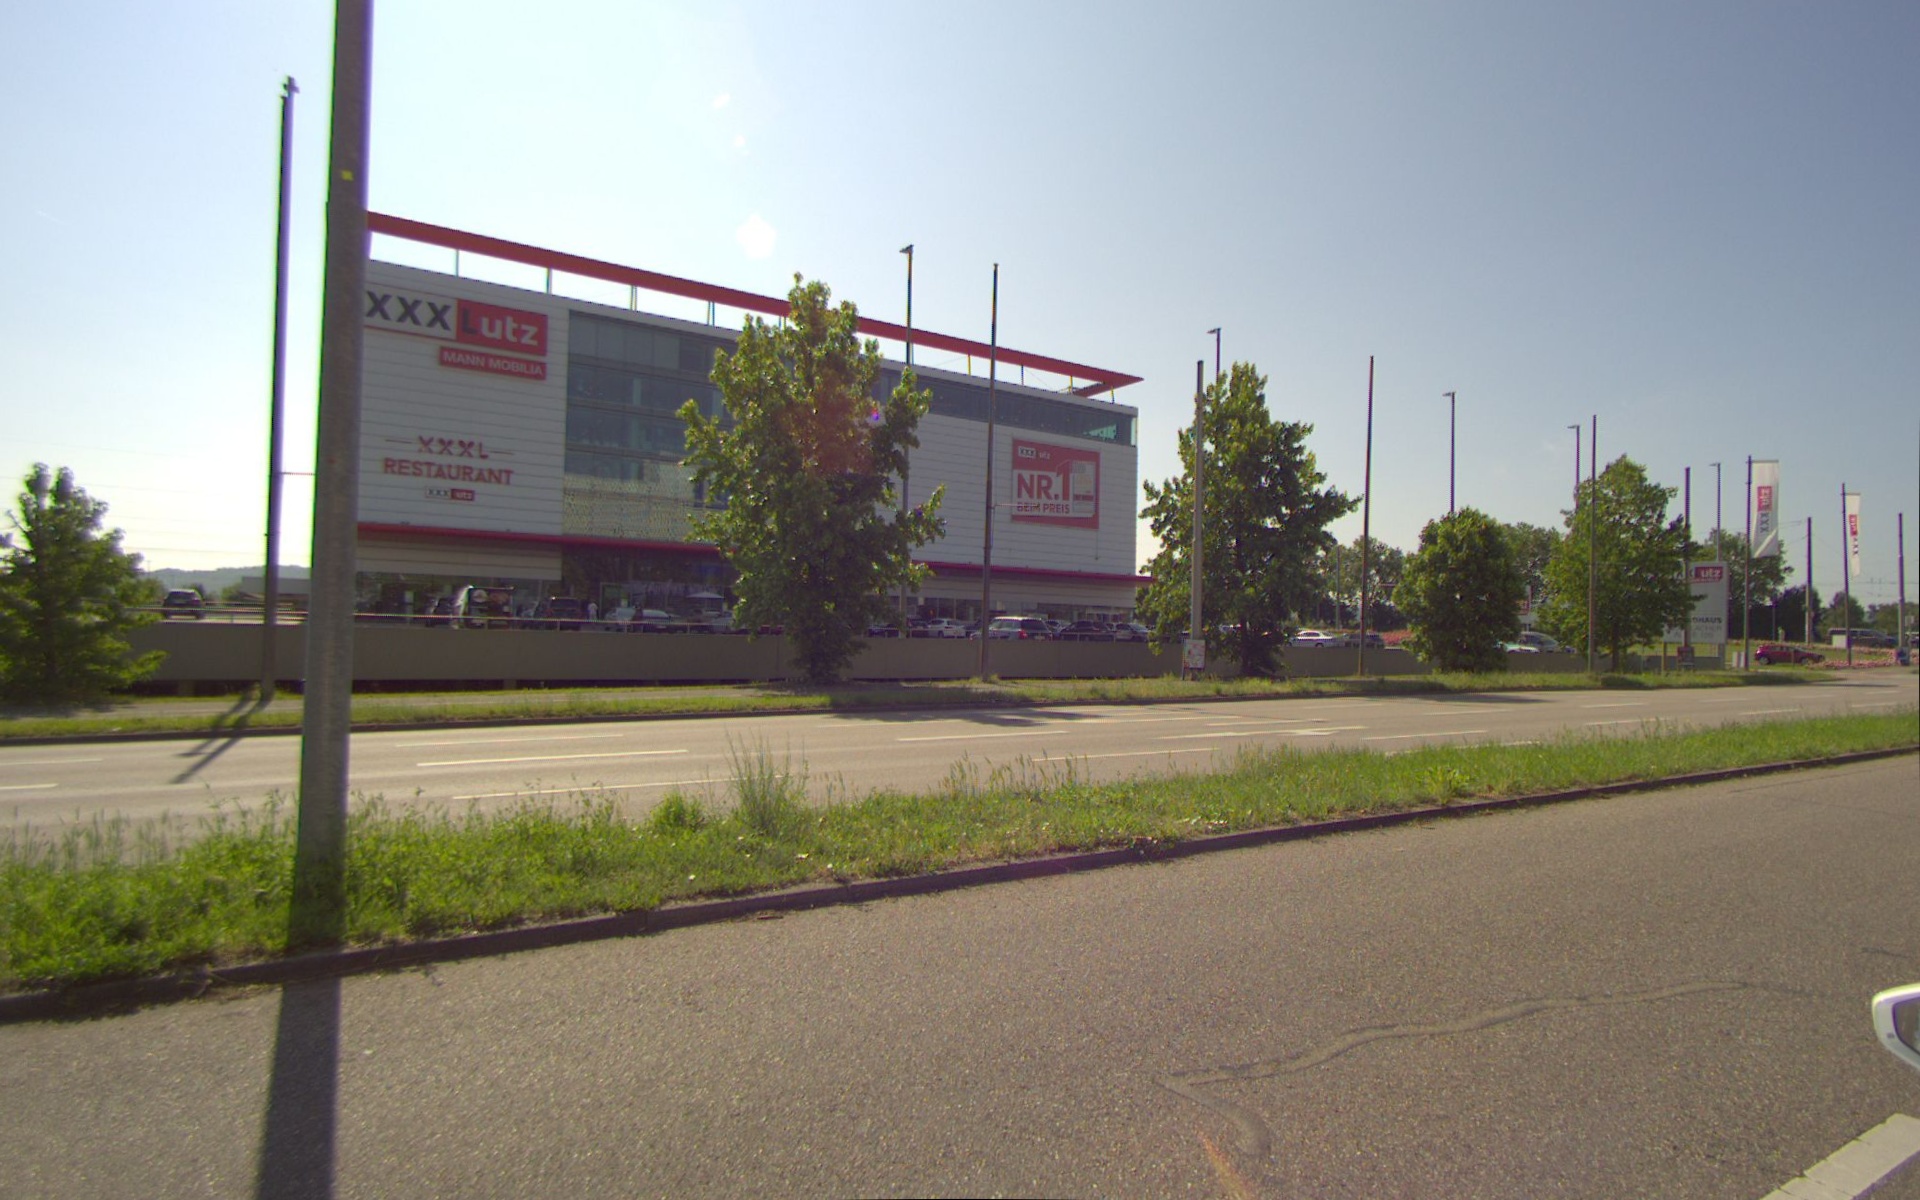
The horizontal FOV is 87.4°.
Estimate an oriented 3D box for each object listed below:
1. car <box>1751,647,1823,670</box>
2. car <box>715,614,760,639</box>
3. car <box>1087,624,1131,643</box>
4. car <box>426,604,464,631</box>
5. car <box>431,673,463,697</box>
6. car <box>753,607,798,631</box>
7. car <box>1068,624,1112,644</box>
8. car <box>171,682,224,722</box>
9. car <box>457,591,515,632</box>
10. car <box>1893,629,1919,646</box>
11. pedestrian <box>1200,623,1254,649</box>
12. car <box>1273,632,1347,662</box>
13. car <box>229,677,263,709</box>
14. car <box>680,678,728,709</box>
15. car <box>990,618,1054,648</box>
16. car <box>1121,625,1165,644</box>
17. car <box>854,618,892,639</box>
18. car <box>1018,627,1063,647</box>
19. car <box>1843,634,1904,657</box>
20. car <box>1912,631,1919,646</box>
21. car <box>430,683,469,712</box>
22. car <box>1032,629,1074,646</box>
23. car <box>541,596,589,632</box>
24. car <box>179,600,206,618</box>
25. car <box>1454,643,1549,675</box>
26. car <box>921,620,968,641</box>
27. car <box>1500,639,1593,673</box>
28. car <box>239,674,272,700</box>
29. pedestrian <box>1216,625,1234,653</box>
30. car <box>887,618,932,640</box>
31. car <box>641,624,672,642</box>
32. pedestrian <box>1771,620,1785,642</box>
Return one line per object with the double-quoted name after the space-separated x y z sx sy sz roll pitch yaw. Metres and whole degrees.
65.646 4.606 79.768 1.810 1.626 4.153 3 -3 -37 "car"
-12.893 1.516 58.055 1.500 1.347 3.195 3 -3 -33 "car"
10.995 2.466 74.208 1.500 1.347 3.069 3 -3 -33 "car"
-28.007 0.963 54.595 1.500 1.347 2.993 3 -3 -33 "car"
-23.502 3.899 46.002 1.061 0.988 1.924 3 -3 -35 "car"
-11.066 1.170 60.288 1.500 1.347 3.195 3 -3 -33 "car"
9.371 2.459 72.513 1.500 1.310 3.069 3 -3 -33 "car"
-21.450 2.858 28.306 1.061 0.988 1.924 3 -3 -35 "car"
-19.364 0.500 40.976 1.755 1.577 2.750 1 -2 -33 "car"
91.780 3.612 96.190 1.395 1.519 3.365 3 -3 -34 "car"
22.360 3.002 84.113 3.922 2.040 2.000 2 -2 -2 "pedestrian"
24.920 3.346 71.642 2.010 2.040 4.638 1 -2 -35 "car"
-25.212 3.280 35.482 0.901 0.988 1.924 3 -3 -35 "car"
-9.271 3.382 36.344 1.061 0.988 1.924 3 -3 -35 "car"
2.281 1.220 37.436 1.061 1.073 2.497 3 -3 -35 "car"
13.731 2.610 75.503 1.500 1.347 3.069 3 -3 -33 "car"
-5.997 1.942 69.262 1.288 1.347 3.116 3 -3 -33 "car"
5.608 2.575 70.228 1.500 1.347 3.069 3 -3 -33 "car"
85.479 4.203 94.029 1.784 1.951 3.992 0 0 -11 "car"
95.396 3.787 98.099 1.396 1.519 3.320 3 -3 -36 "car"
-19.796 3.760 38.905 1.061 0.988 1.924 3 -3 -35 "car"
7.153 2.894 77.403 1.590 1.244 3.069 3 -3 -33 "car"
-20.782 0.758 52.786 1.675 1.781 3.069 3 -2 -33 "car"
-43.127 0.515 56.434 1.061 0.988 1.924 3 -3 -35 "car"
30.783 3.340 57.216 1.853 1.648 4.383 5 -4 -35 "car"
-1.043 2.008 66.363 1.686 1.347 3.069 3 -3 -33 "car"
34.912 3.331 59.897 1.925 1.866 4.387 3 -3 -33 "car"
-29.438 3.635 42.005 1.061 0.988 1.924 3 -3 -35 "car"
19.536 2.862 74.071 1.006 2.040 0.861 1 -2 -19 "pedestrian"
-3.299 1.870 65.204 1.500 1.347 3.069 3 -3 -33 "car"
-16.570 1.811 54.870 1.061 0.988 1.924 2 -3 -35 "car"
77.083 2.913 94.614 0.907 1.998 0.713 3 -2 -28 "pedestrian"
